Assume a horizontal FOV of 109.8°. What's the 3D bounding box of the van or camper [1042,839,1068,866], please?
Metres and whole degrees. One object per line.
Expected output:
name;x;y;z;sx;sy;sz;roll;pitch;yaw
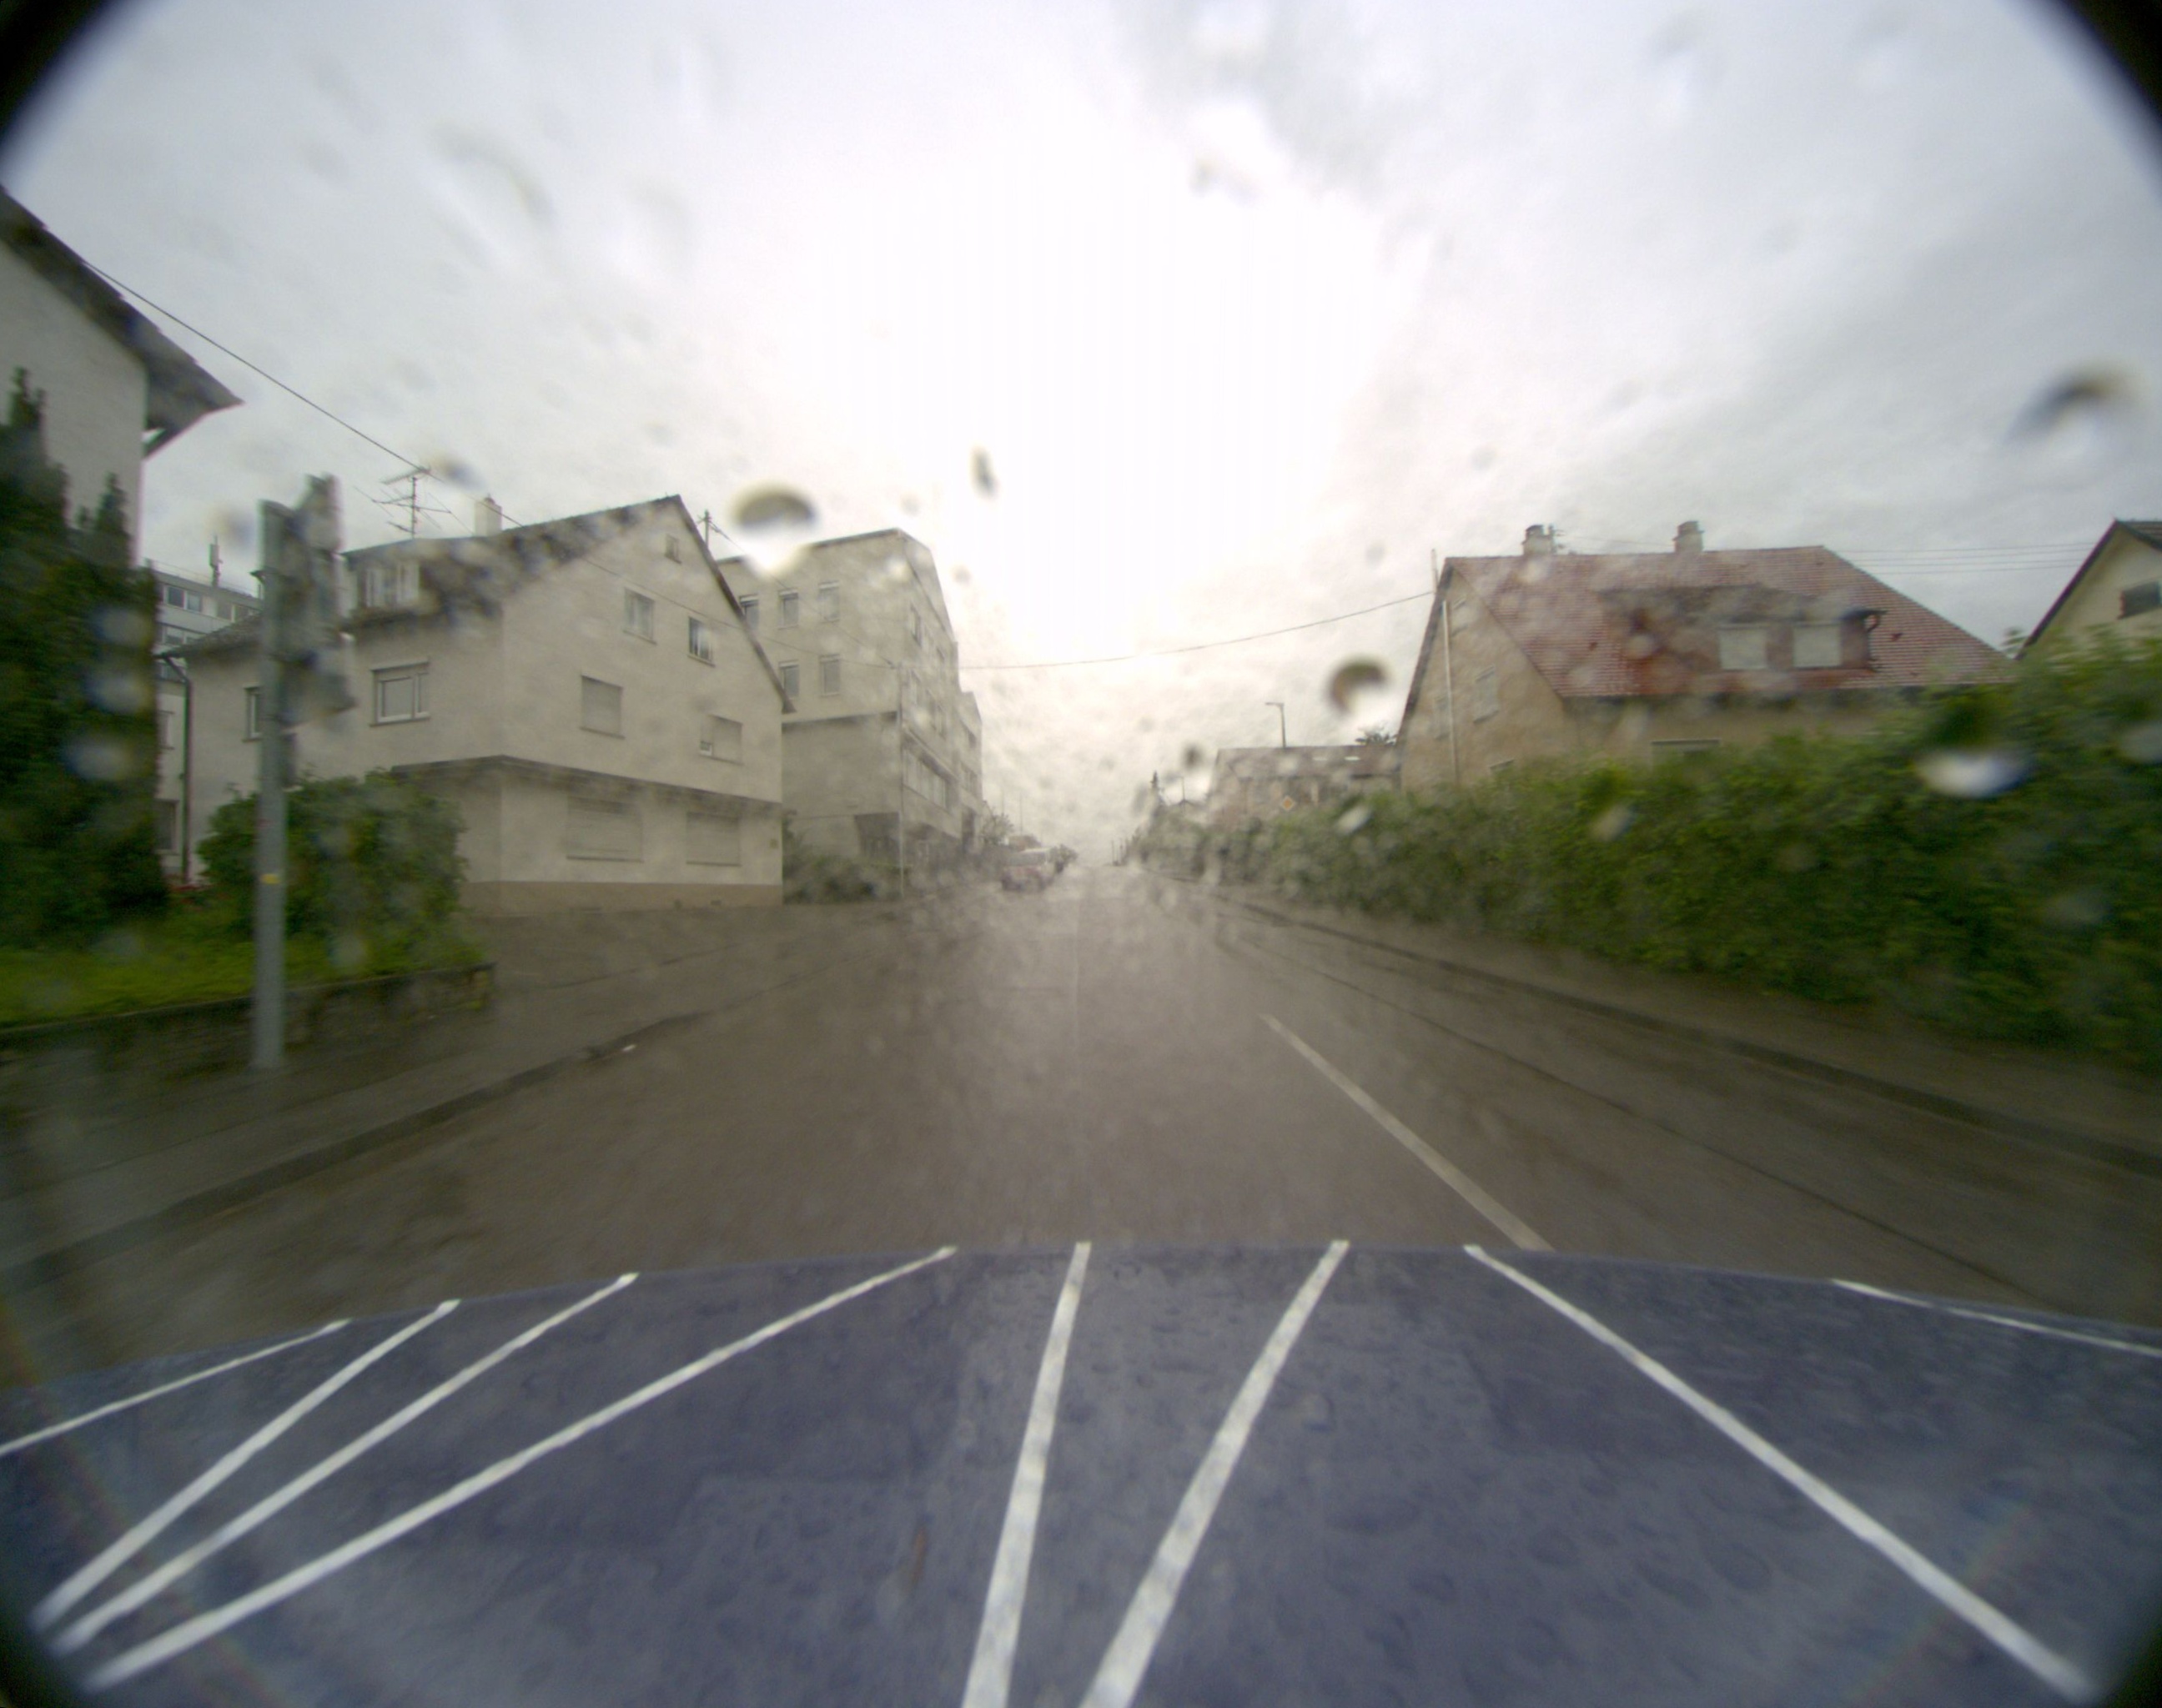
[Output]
van or camper;-2.247;-0.118;66.227;1.998;2.230;5.441;-1;0;0

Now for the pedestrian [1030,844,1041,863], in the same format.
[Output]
pedestrian;-4.198;-0.073;70.286;1.026;1.748;1.031;-1;-1;-2

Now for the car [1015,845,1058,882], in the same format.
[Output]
car;-2.324;0.475;40.577;1.883;1.823;4.488;-2;1;1

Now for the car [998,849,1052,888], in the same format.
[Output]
car;-2.532;0.606;35.352;1.998;1.635;4.958;-2;1;1

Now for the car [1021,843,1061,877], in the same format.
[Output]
car;-2.389;0.318;46.358;1.998;1.924;4.975;-2;1;1

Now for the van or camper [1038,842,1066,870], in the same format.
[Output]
van or camper;-2.255;0.127;59.997;1.998;2.101;5.202;-1;0;0
